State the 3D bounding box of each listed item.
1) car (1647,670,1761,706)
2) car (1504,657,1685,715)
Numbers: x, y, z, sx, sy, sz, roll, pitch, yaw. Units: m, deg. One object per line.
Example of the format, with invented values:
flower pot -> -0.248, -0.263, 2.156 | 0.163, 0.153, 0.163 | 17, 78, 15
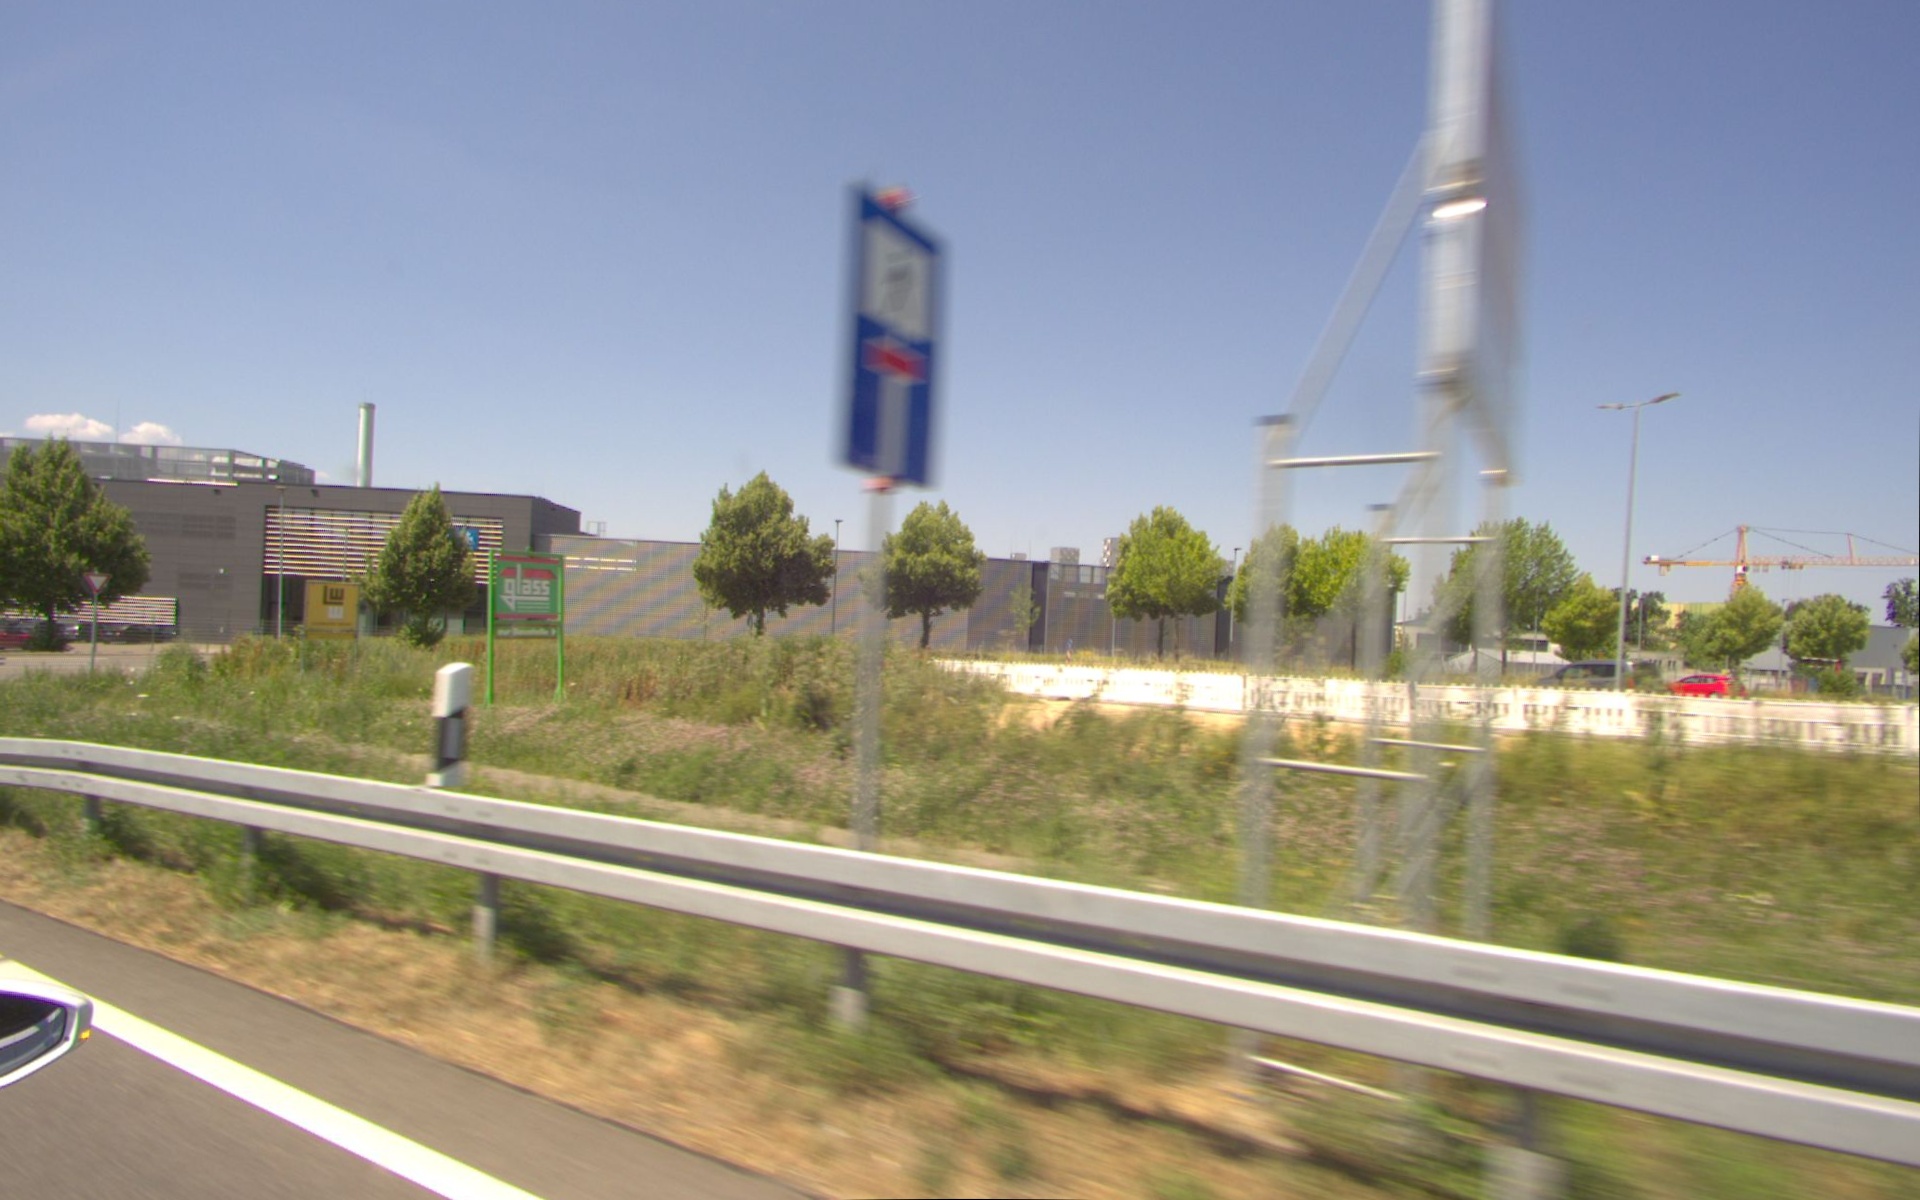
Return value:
car -> 39.218, 4.609, 52.930 | 2.065, 1.706, 4.536 | 2, -3, -15
car -> 22.808, 3.041, 36.274 | 2.069, 1.838, 5.328 | 2, -3, -23
